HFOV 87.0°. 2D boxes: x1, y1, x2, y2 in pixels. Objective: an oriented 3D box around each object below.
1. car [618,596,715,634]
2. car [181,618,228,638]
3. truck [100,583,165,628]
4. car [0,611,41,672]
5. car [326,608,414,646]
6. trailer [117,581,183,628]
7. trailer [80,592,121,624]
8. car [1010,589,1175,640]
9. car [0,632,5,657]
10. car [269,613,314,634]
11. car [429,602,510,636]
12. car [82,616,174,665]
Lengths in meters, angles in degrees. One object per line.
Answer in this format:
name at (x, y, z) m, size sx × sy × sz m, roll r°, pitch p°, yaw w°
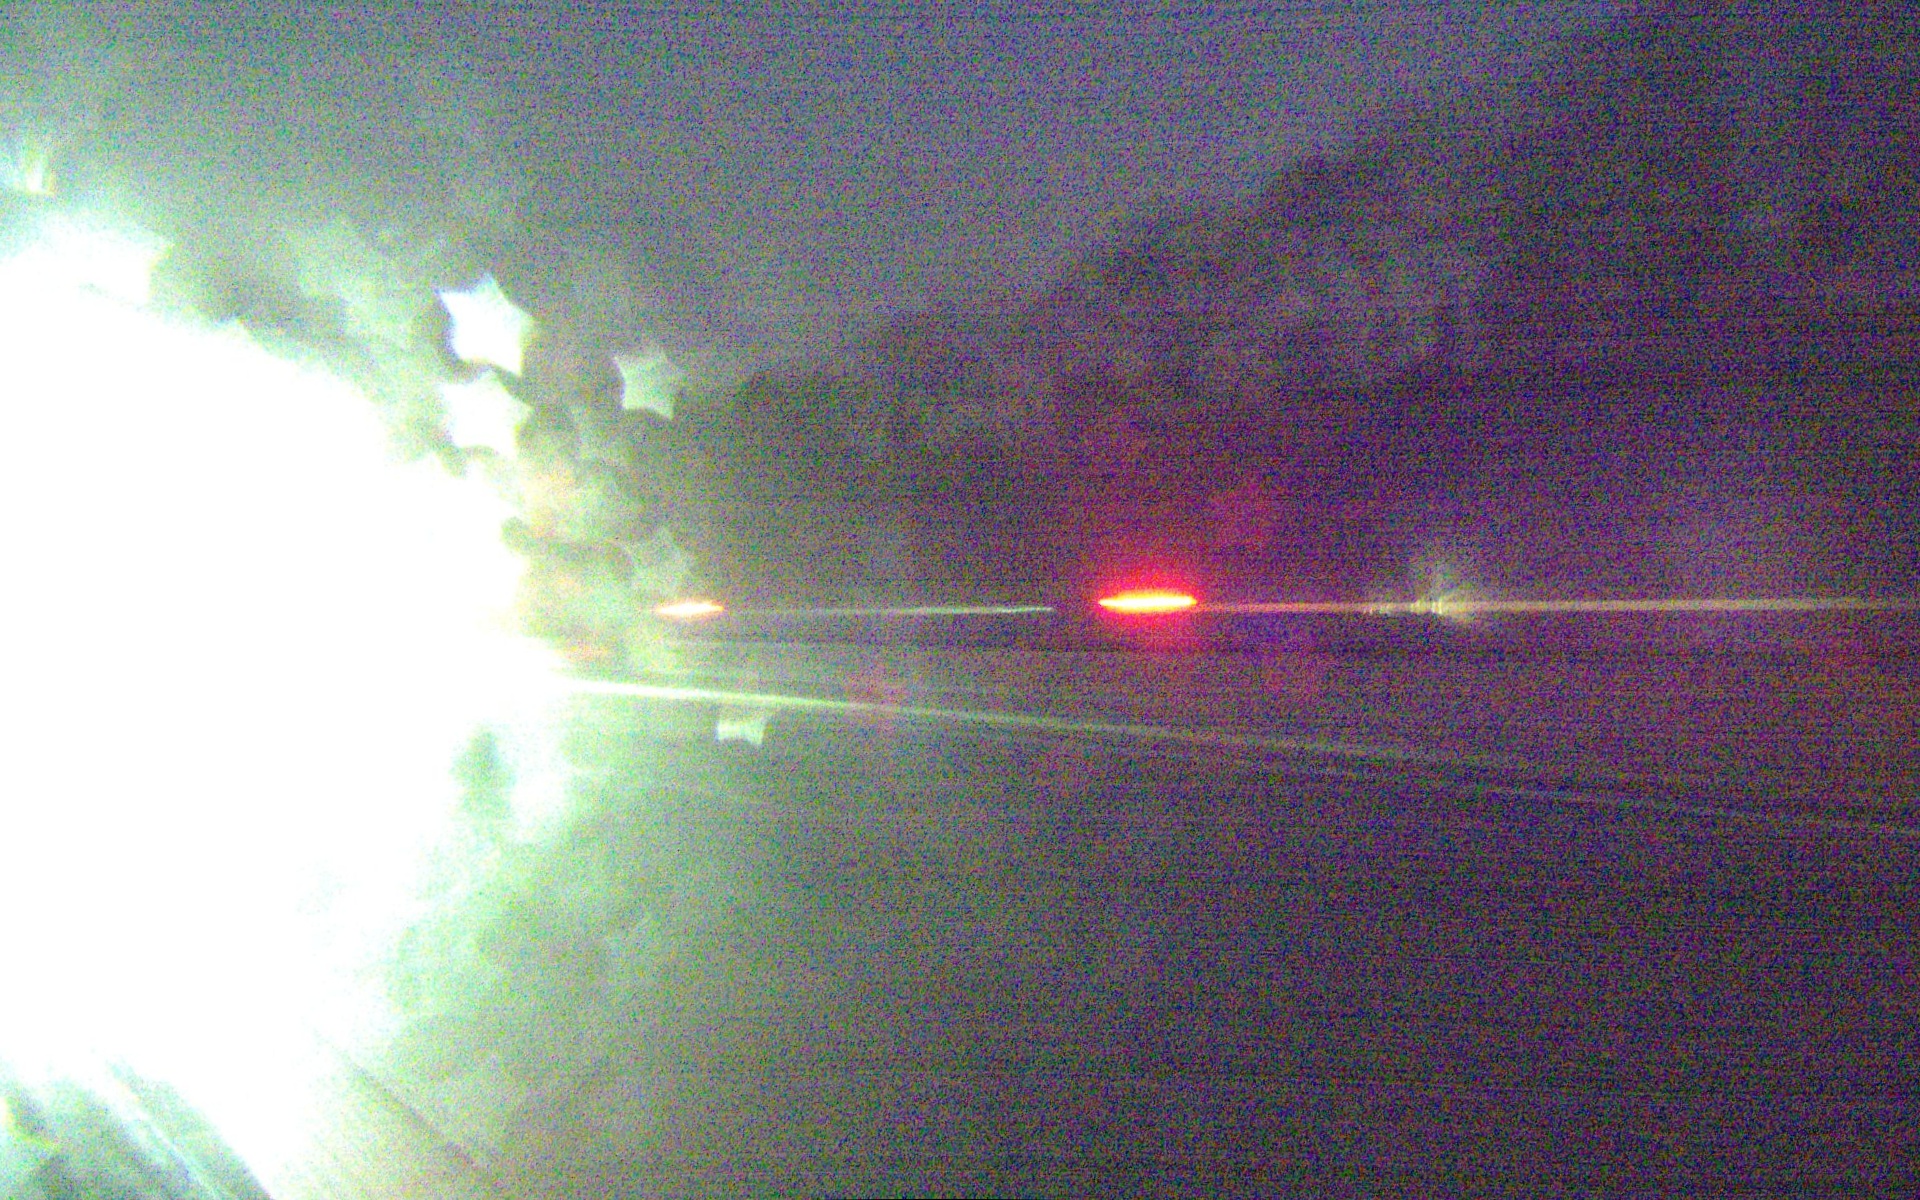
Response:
car at (-12.269, 0.615, 42.178) m, size 3.996 × 1.475 × 1.941 m, roll -1°, pitch 2°, yaw 40°
car at (-59.380, 2.170, 79.516) m, size 4.896 × 1.475 × 1.951 m, roll -1°, pitch 2°, yaw 41°
truck at (-104.217, 0.737, 127.417) m, size 10.465 × 5.178 × 4.297 m, roll -1°, pitch 3°, yaw 41°
car at (-28.484, 1.206, 29.814) m, size 1.970 × 1.689 × 4.003 m, roll -1°, pitch 0°, yaw -44°
car at (-24.790, 1.090, 42.474) m, size 3.996 × 1.475 × 1.952 m, roll -1°, pitch 0°, yaw 40°
trailer at (-96.831, 0.606, 120.975) m, size 8.991 × 5.178 × 4.296 m, roll -1°, pitch 3°, yaw 41°
trailer at (-153.136, 1.410, 180.197) m, size 13.748 × 5.486 × 4.122 m, roll -1°, pitch 0°, yaw 43°
car at (4.144, 0.457, 32.224) m, size 5.035 × 1.475 × 1.769 m, roll -1°, pitch 1°, yaw 40°
car at (-69.734, 3.214, 72.260) m, size 4.000 × 1.689 × 1.972 m, roll -1°, pitch 0°, yaw 43°
car at (-51.008, 1.799, 77.151) m, size 4.298 × 1.475 × 1.860 m, roll -1°, pitch 2°, yaw 43°
car at (-22.879, 0.878, 47.156) m, size 3.996 × 1.475 × 1.952 m, roll -1°, pitch 0°, yaw 40°
car at (-30.539, 1.440, 37.104) m, size 2.278 × 1.621 × 3.874 m, roll -1°, pitch 0°, yaw -45°
